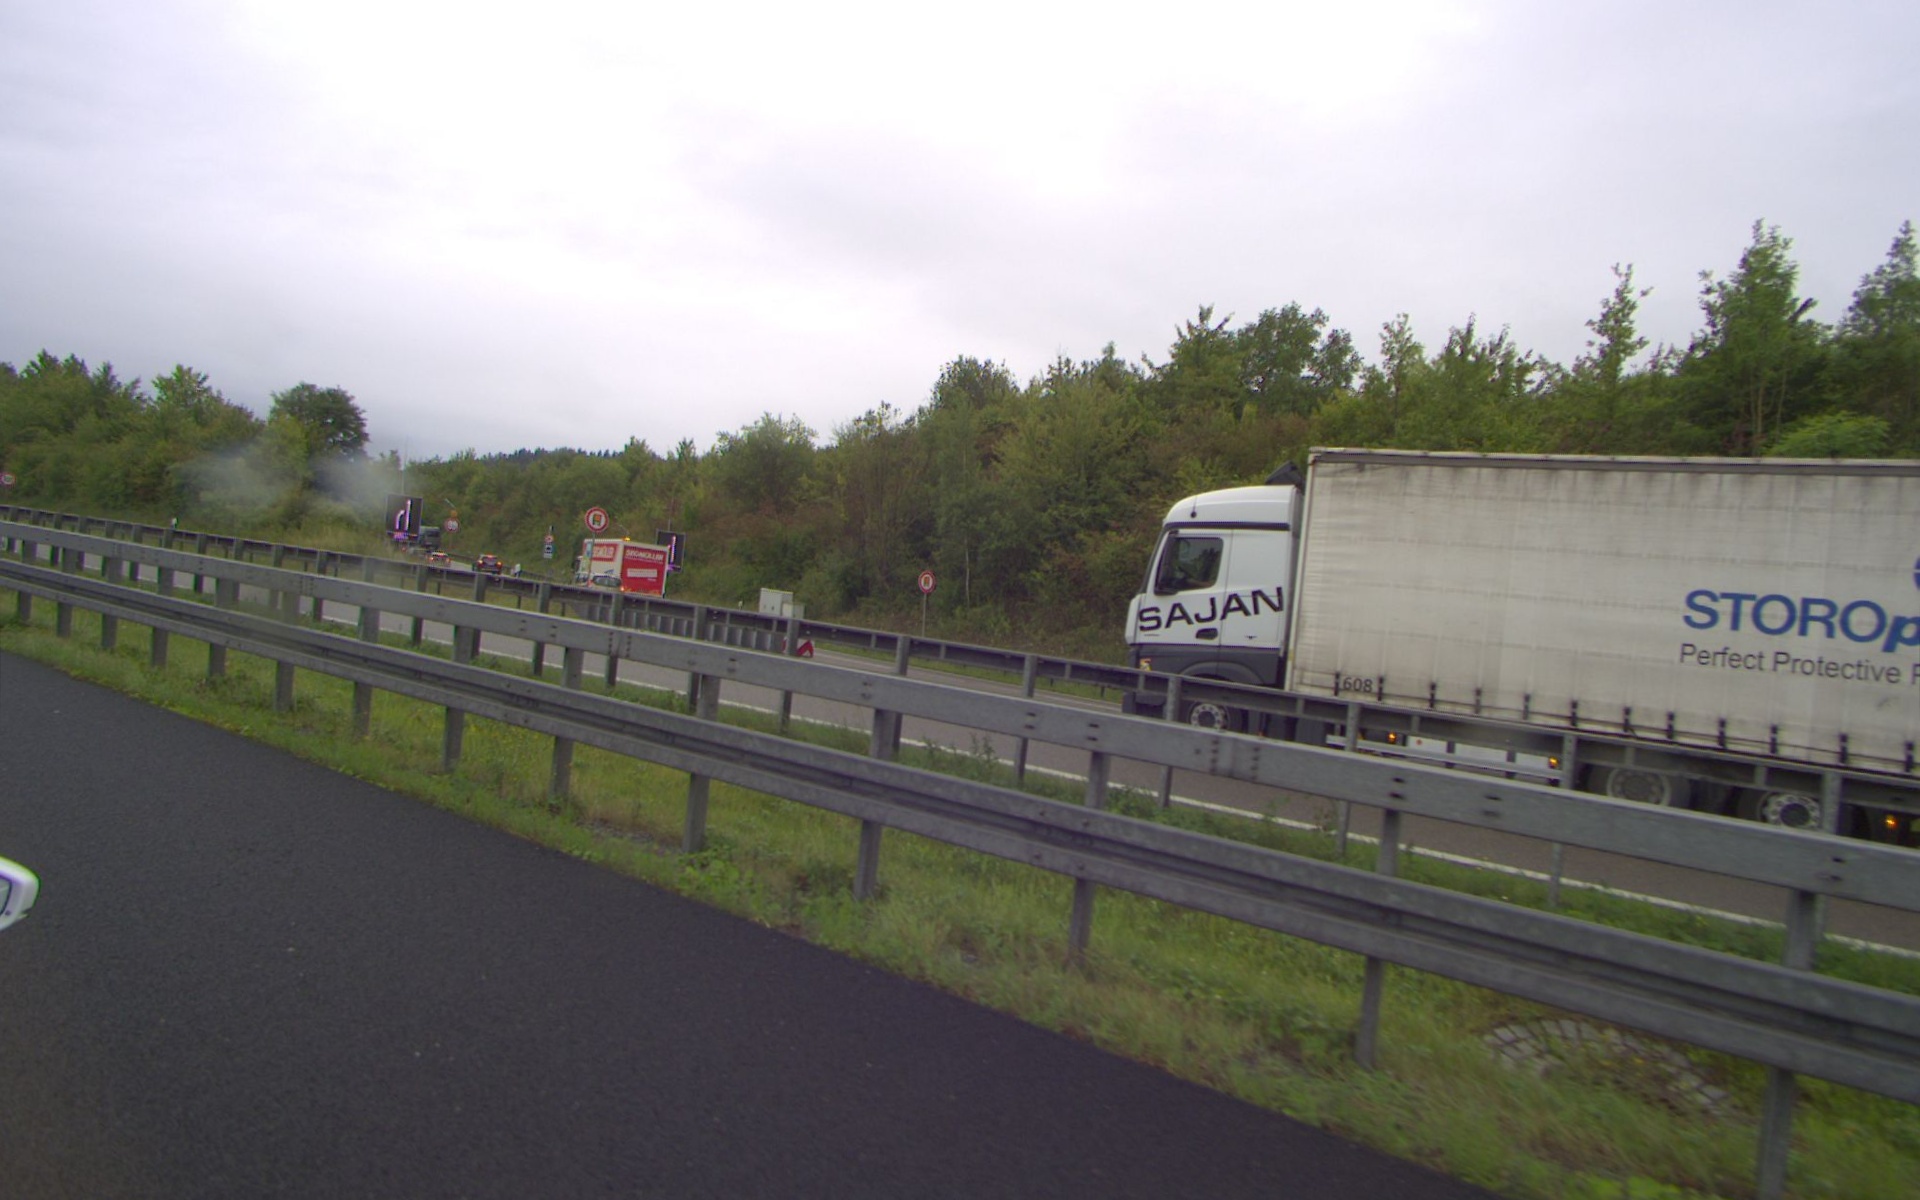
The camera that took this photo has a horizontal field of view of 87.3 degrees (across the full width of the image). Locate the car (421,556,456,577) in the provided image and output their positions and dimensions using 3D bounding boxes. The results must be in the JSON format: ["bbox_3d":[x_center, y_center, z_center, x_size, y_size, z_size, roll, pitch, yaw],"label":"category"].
[{"bbox_3d":[-46.571,-3.001,89.854,1.852,1.464,4.112,8,-1,-40],"label":"car"}]

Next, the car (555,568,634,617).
[{"bbox_3d":[-15.898,-0.346,43.596,1.851,1.678,4.427,7,-1,-37],"label":"car"}]

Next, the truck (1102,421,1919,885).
[{"bbox_3d":[7.432,0.356,12.692,10.243,4.341,3.443,7,0,31],"label":"truck"}]

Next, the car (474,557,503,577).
[{"bbox_3d":[-42.558,-2.971,90.776,1.846,1.464,4.124,7,-1,-31],"label":"car"}]

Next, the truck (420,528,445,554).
[{"bbox_3d":[-64.132,-7.111,122.333,2.420,2.737,5.529,7,-1,-28],"label":"truck"}]

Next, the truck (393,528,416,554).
[{"bbox_3d":[-70.888,-7.454,128.478,2.227,2.913,8.113,7,-1,-29],"label":"truck"}]

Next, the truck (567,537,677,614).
[{"bbox_3d":[-17.939,-1.401,52.928,2.881,3.435,8.893,7,-1,-34],"label":"truck"}]
